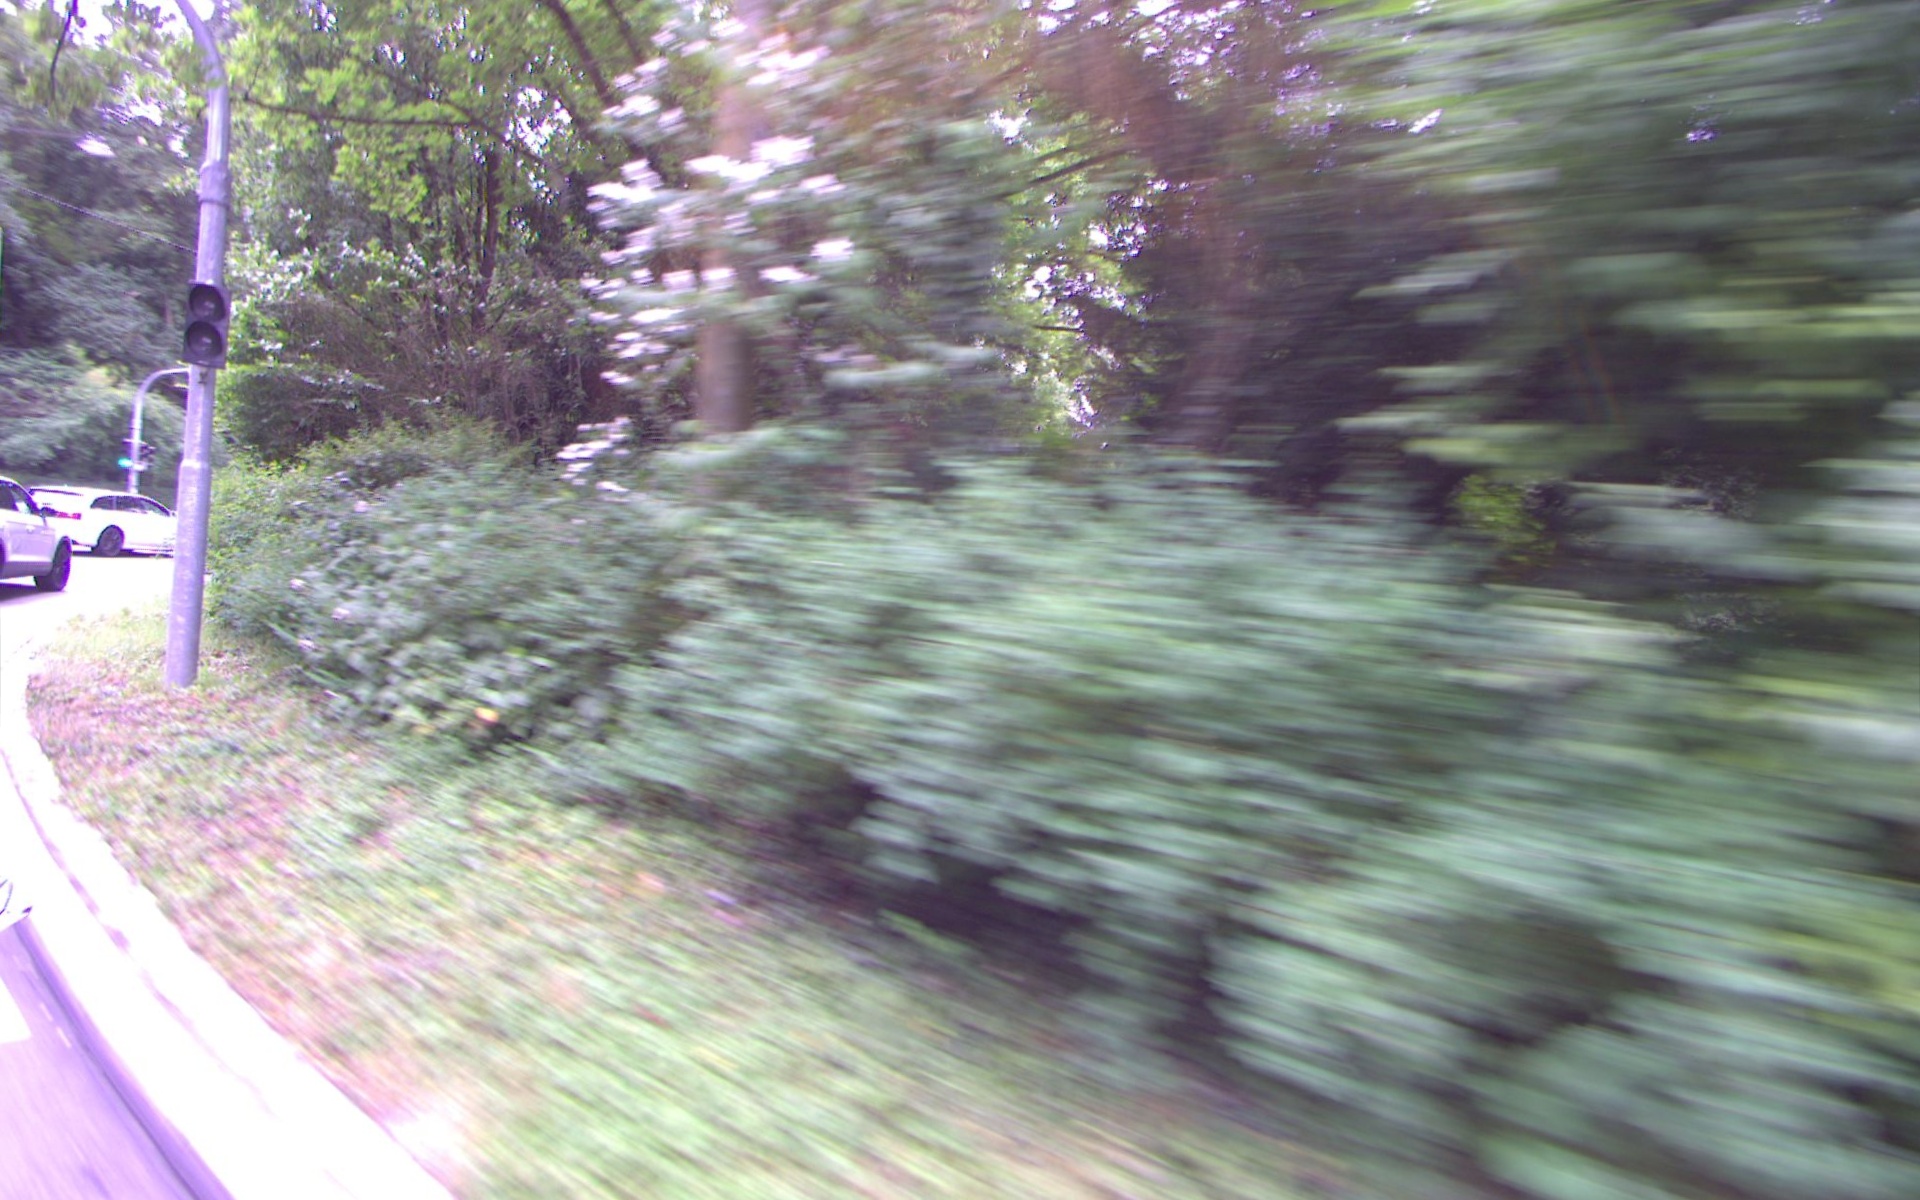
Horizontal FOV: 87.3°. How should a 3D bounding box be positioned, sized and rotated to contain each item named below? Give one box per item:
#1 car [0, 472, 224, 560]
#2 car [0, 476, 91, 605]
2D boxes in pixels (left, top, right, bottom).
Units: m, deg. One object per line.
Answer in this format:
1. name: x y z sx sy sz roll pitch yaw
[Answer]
1. car: -19.560 -1.853 23.256 1.839 1.553 4.768 8 1 -6
2. car: -12.928 -0.880 12.846 1.740 1.571 4.306 8 0 -28
